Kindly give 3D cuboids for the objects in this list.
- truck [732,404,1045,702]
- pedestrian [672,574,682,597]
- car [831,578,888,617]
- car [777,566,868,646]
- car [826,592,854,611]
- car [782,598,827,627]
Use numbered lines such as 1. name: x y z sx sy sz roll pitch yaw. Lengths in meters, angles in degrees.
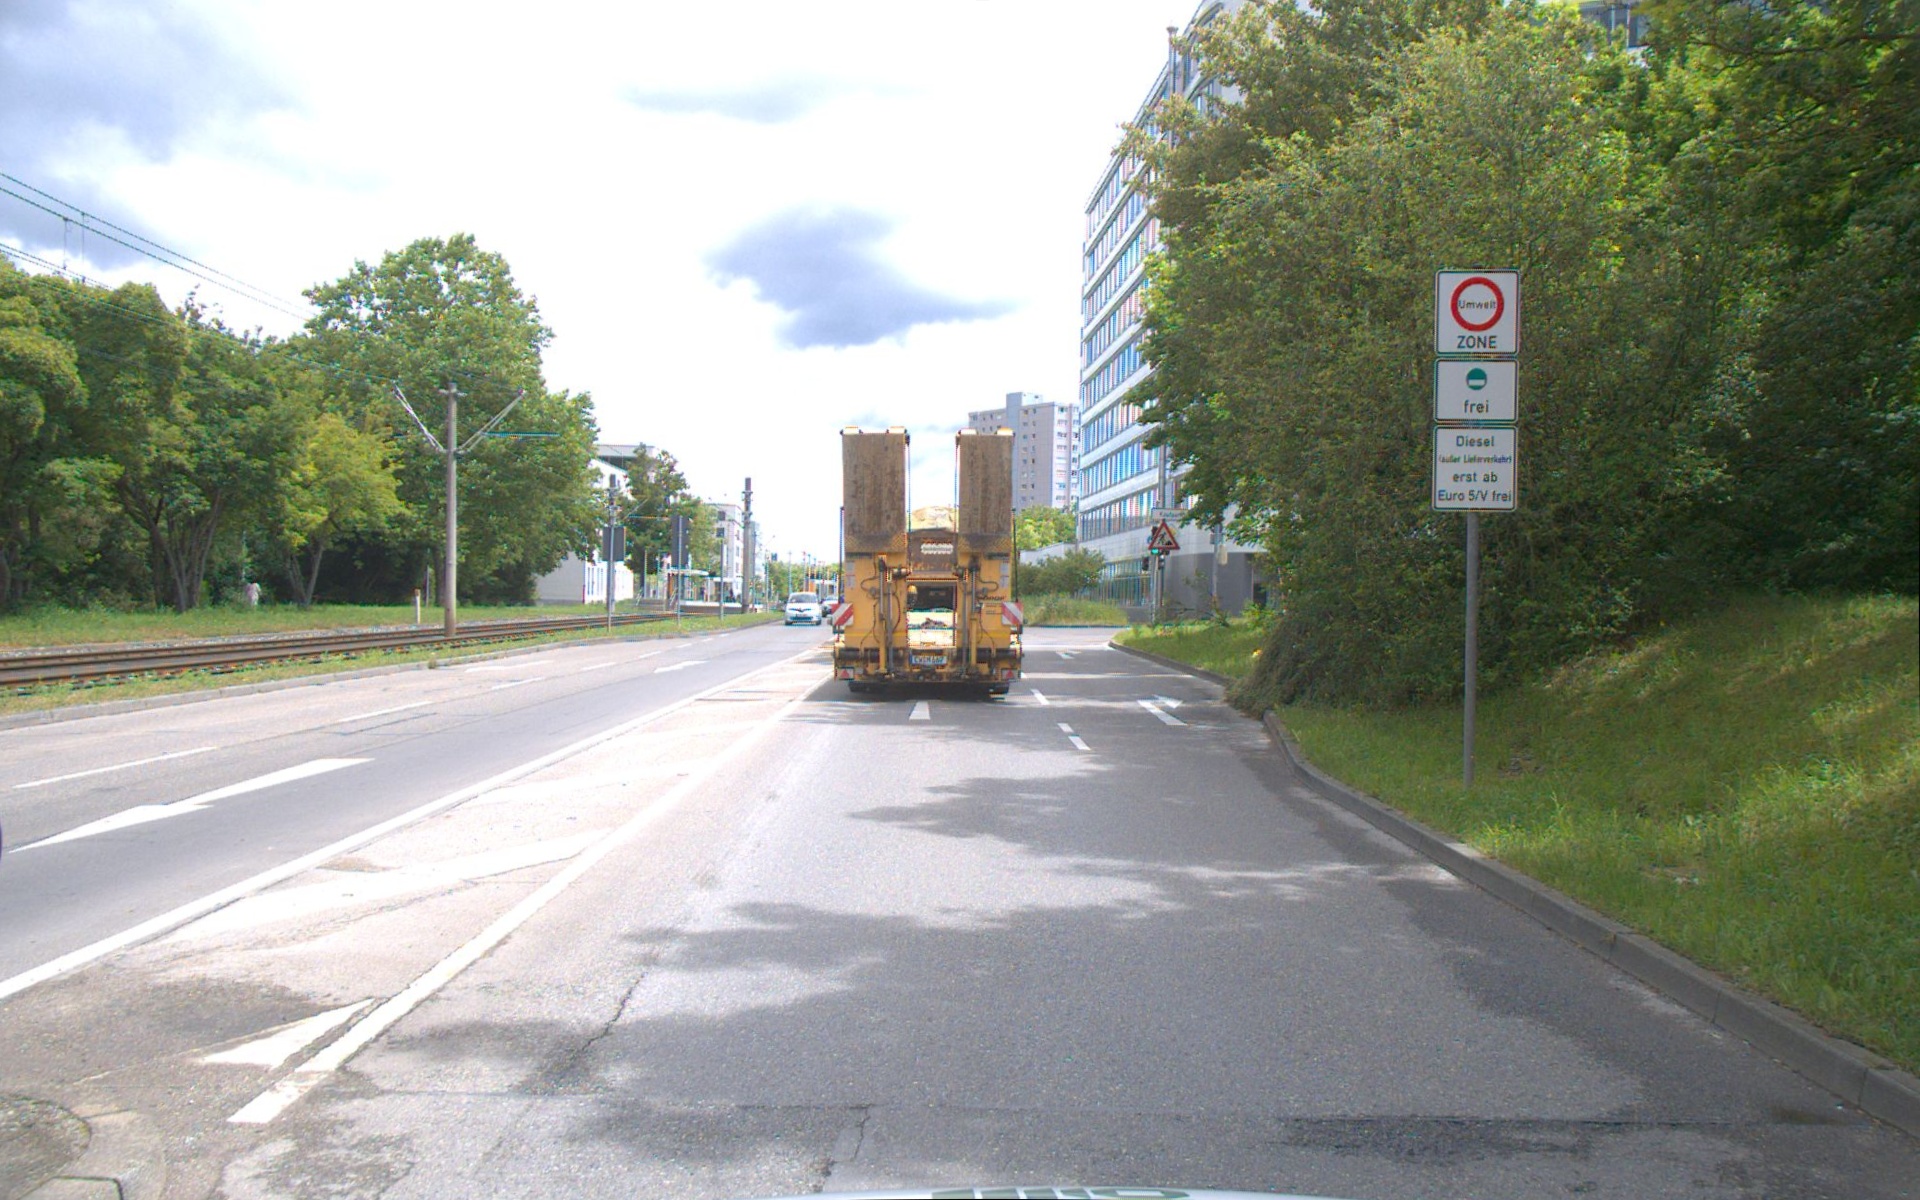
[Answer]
1. truck: -0.617 -0.637 27.616 3.246 3.714 12.570 3 0 6
2. pedestrian: -25.269 -1.315 147.500 0.639 2.048 0.654 3 0 6
3. car: -4.061 -0.105 67.593 1.953 1.444 4.001 3 1 1
4. car: -3.657 0.131 44.521 1.953 1.959 4.001 3 0 1
5. car: -8.423 0.105 116.701 1.748 1.294 4.344 1 0 -1
6. car: -7.425 0.596 79.217 1.747 1.294 4.345 1 0 0
